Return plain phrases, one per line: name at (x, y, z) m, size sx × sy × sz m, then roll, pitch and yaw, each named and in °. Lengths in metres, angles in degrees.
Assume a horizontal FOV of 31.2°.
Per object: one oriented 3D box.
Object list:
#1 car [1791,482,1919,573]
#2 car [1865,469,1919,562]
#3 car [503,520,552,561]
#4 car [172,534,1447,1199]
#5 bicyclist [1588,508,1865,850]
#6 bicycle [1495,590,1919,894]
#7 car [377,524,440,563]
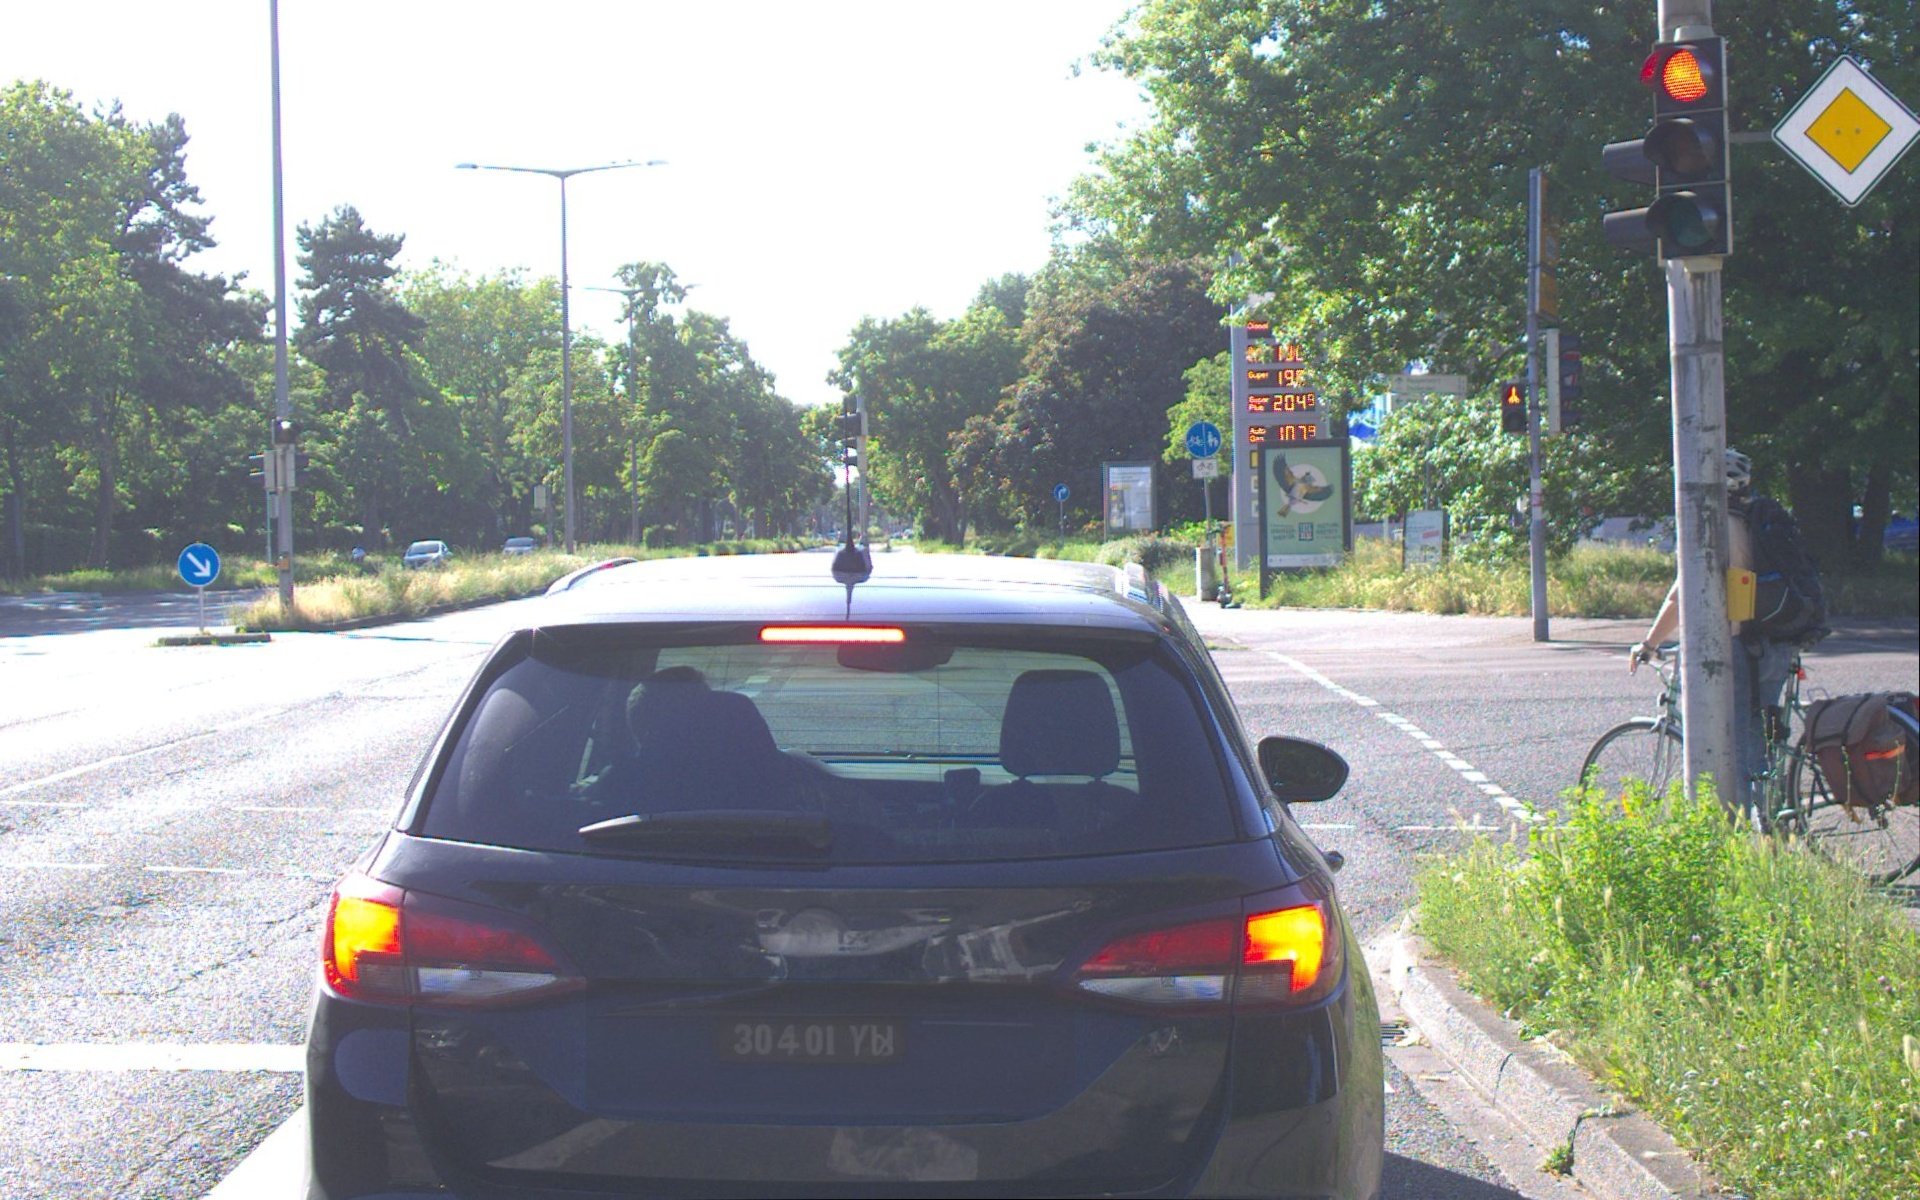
car at (16.618, -1.292, 59.808) m, size 3.887 × 1.512 × 1.746 m, roll -2°, pitch 1°, yaw -23°
car at (17.094, -1.433, 56.723) m, size 3.887 × 1.512 × 1.746 m, roll -2°, pitch 1°, yaw -23°
car at (-22.046, -3.039, 175.500) m, size 1.993 × 2.007 × 4.000 m, roll -2°, pitch 1°, yaw -1°
car at (-0.232, 0.632, 6.854) m, size 1.756 × 1.490 × 4.207 m, roll 0°, pitch 1°, yaw -1°
bicyclist at (2.969, 0.305, 13.336) m, size 0.536 × 1.272 × 0.829 m, roll -3°, pitch 0°, yaw -44°
bicycle at (2.979, 0.546, 13.340) m, size 0.536 × 1.094 × 1.775 m, roll -3°, pitch 0°, yaw -44°
car at (-22.714, -2.335, 141.662) m, size 1.993 × 1.525 × 4.000 m, roll -2°, pitch 1°, yaw -1°
